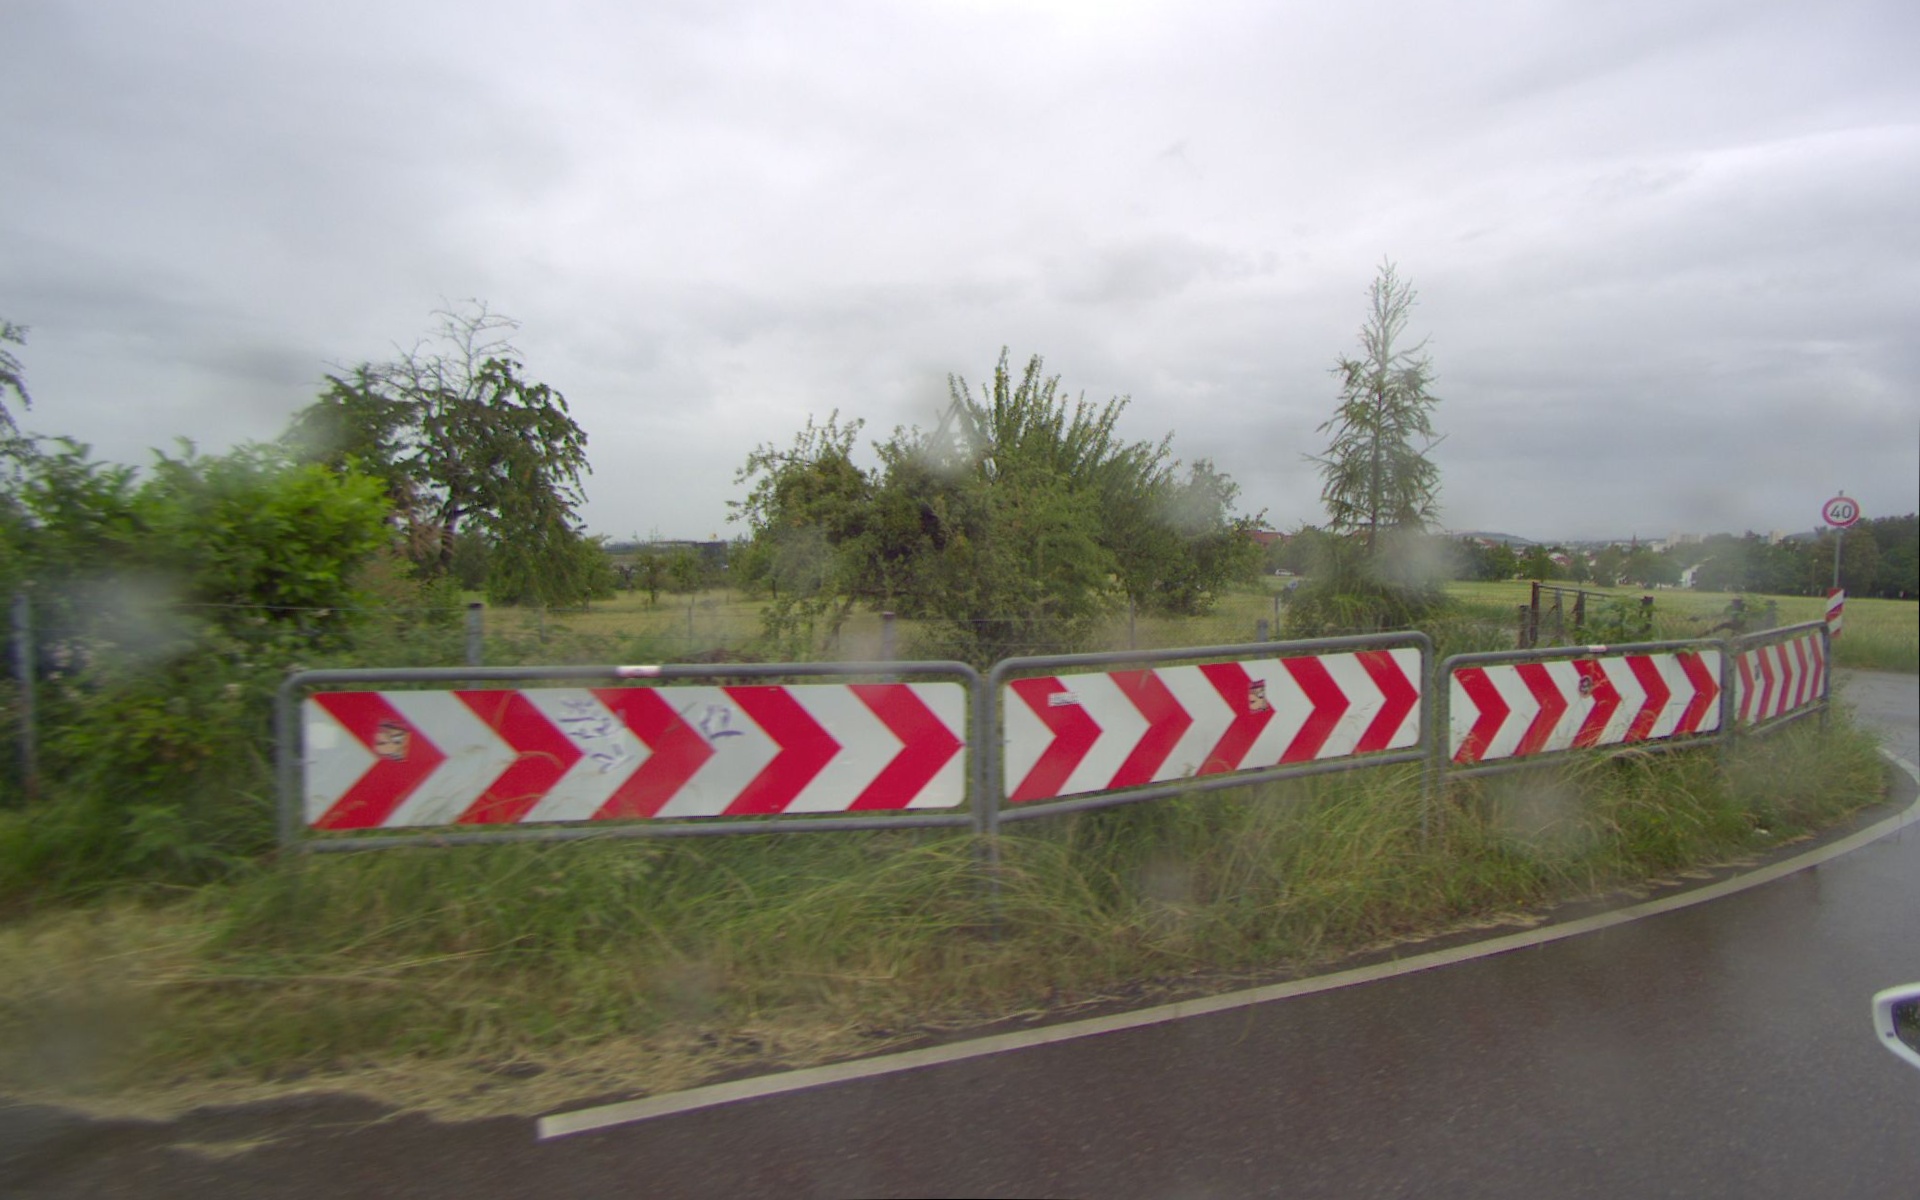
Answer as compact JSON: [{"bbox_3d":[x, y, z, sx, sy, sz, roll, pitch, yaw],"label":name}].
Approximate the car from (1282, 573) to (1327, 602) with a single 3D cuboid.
[{"bbox_3d":[20.149,-0.741,58.926,1.783,1.615,4.002,0,1,9],"label":"car"}]
